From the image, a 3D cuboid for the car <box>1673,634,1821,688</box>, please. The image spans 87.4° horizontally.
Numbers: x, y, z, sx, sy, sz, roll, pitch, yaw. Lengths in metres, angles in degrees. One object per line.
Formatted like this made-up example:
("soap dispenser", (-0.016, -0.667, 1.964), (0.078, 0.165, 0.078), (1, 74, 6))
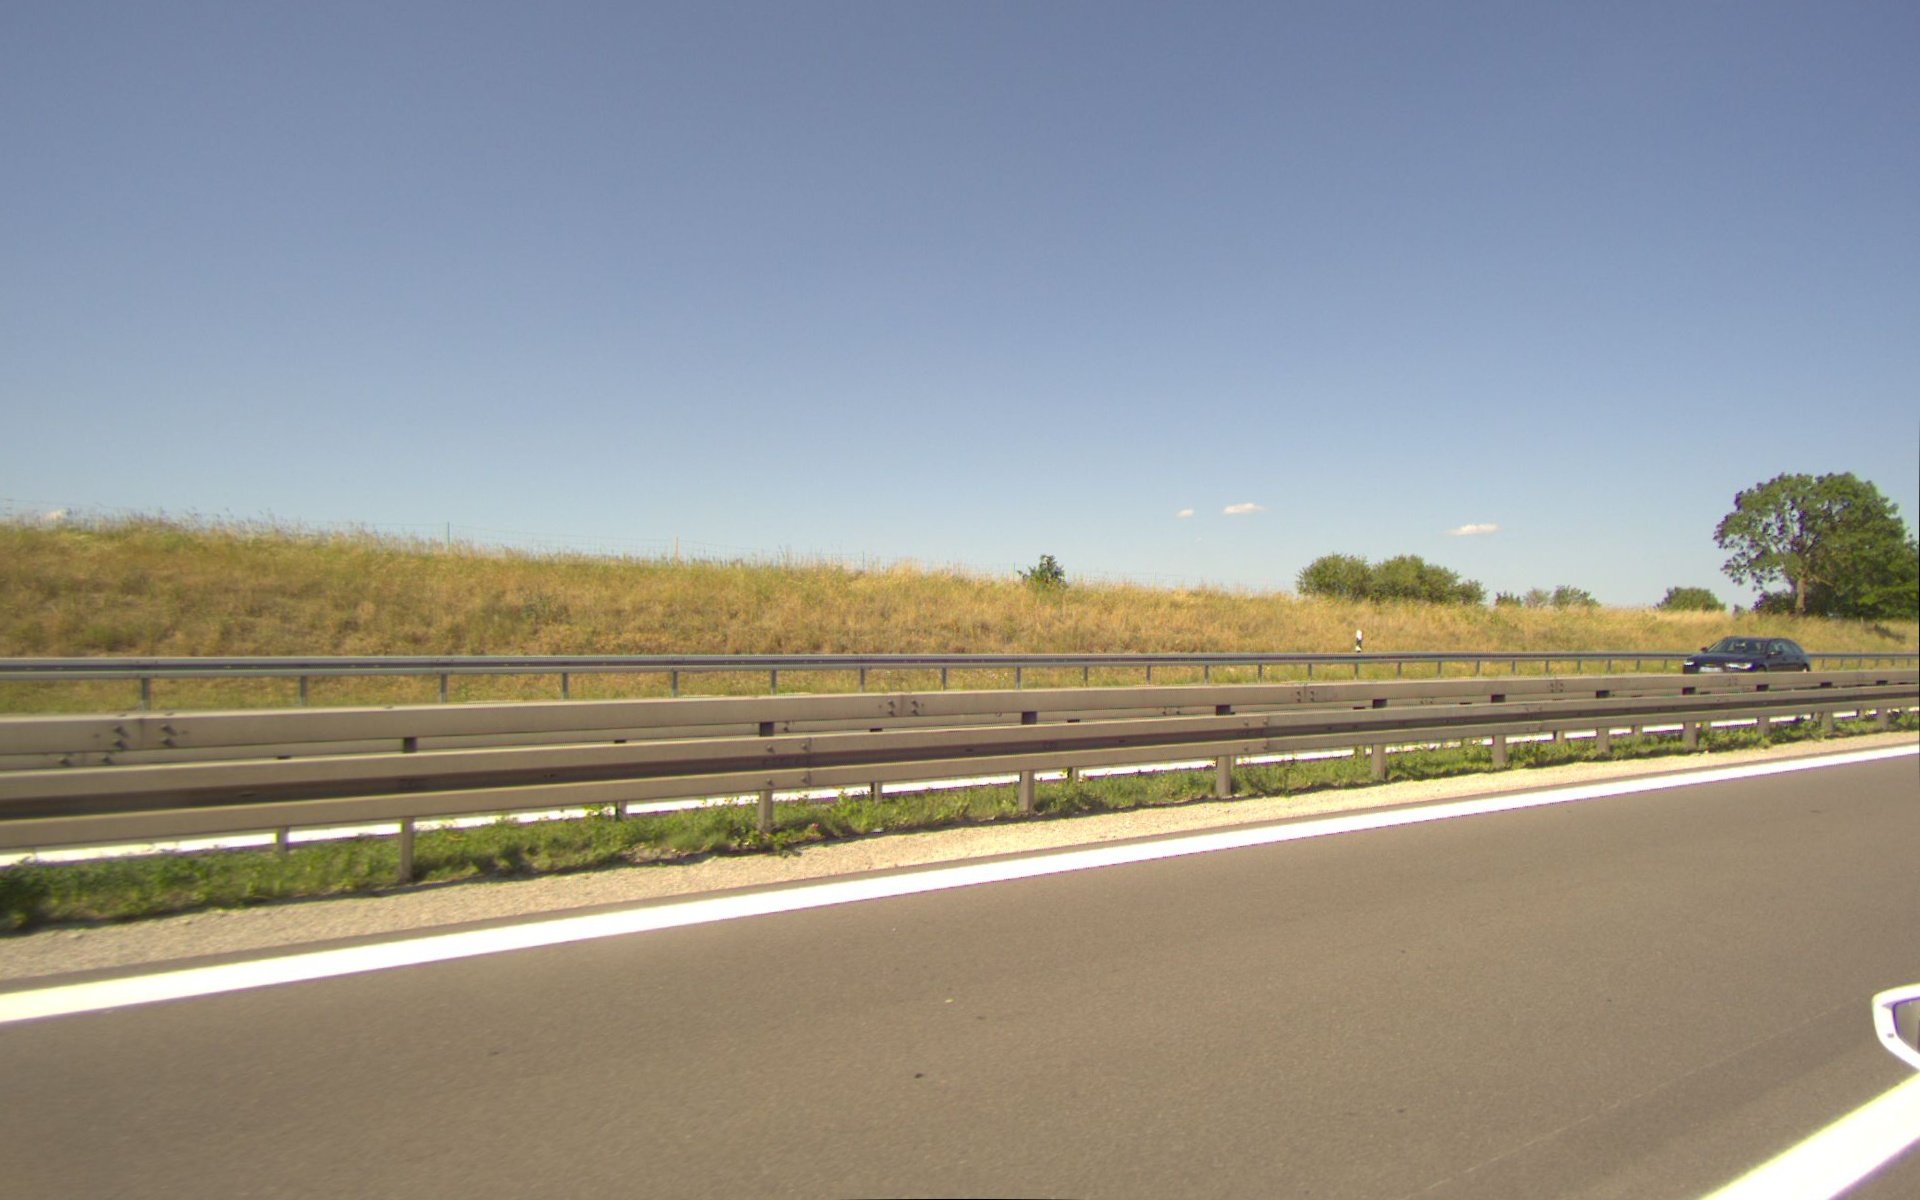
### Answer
("car", (23.615, 1.794, 30.077), (5.179, 1.487, 1.716), (2, -1, -30))
